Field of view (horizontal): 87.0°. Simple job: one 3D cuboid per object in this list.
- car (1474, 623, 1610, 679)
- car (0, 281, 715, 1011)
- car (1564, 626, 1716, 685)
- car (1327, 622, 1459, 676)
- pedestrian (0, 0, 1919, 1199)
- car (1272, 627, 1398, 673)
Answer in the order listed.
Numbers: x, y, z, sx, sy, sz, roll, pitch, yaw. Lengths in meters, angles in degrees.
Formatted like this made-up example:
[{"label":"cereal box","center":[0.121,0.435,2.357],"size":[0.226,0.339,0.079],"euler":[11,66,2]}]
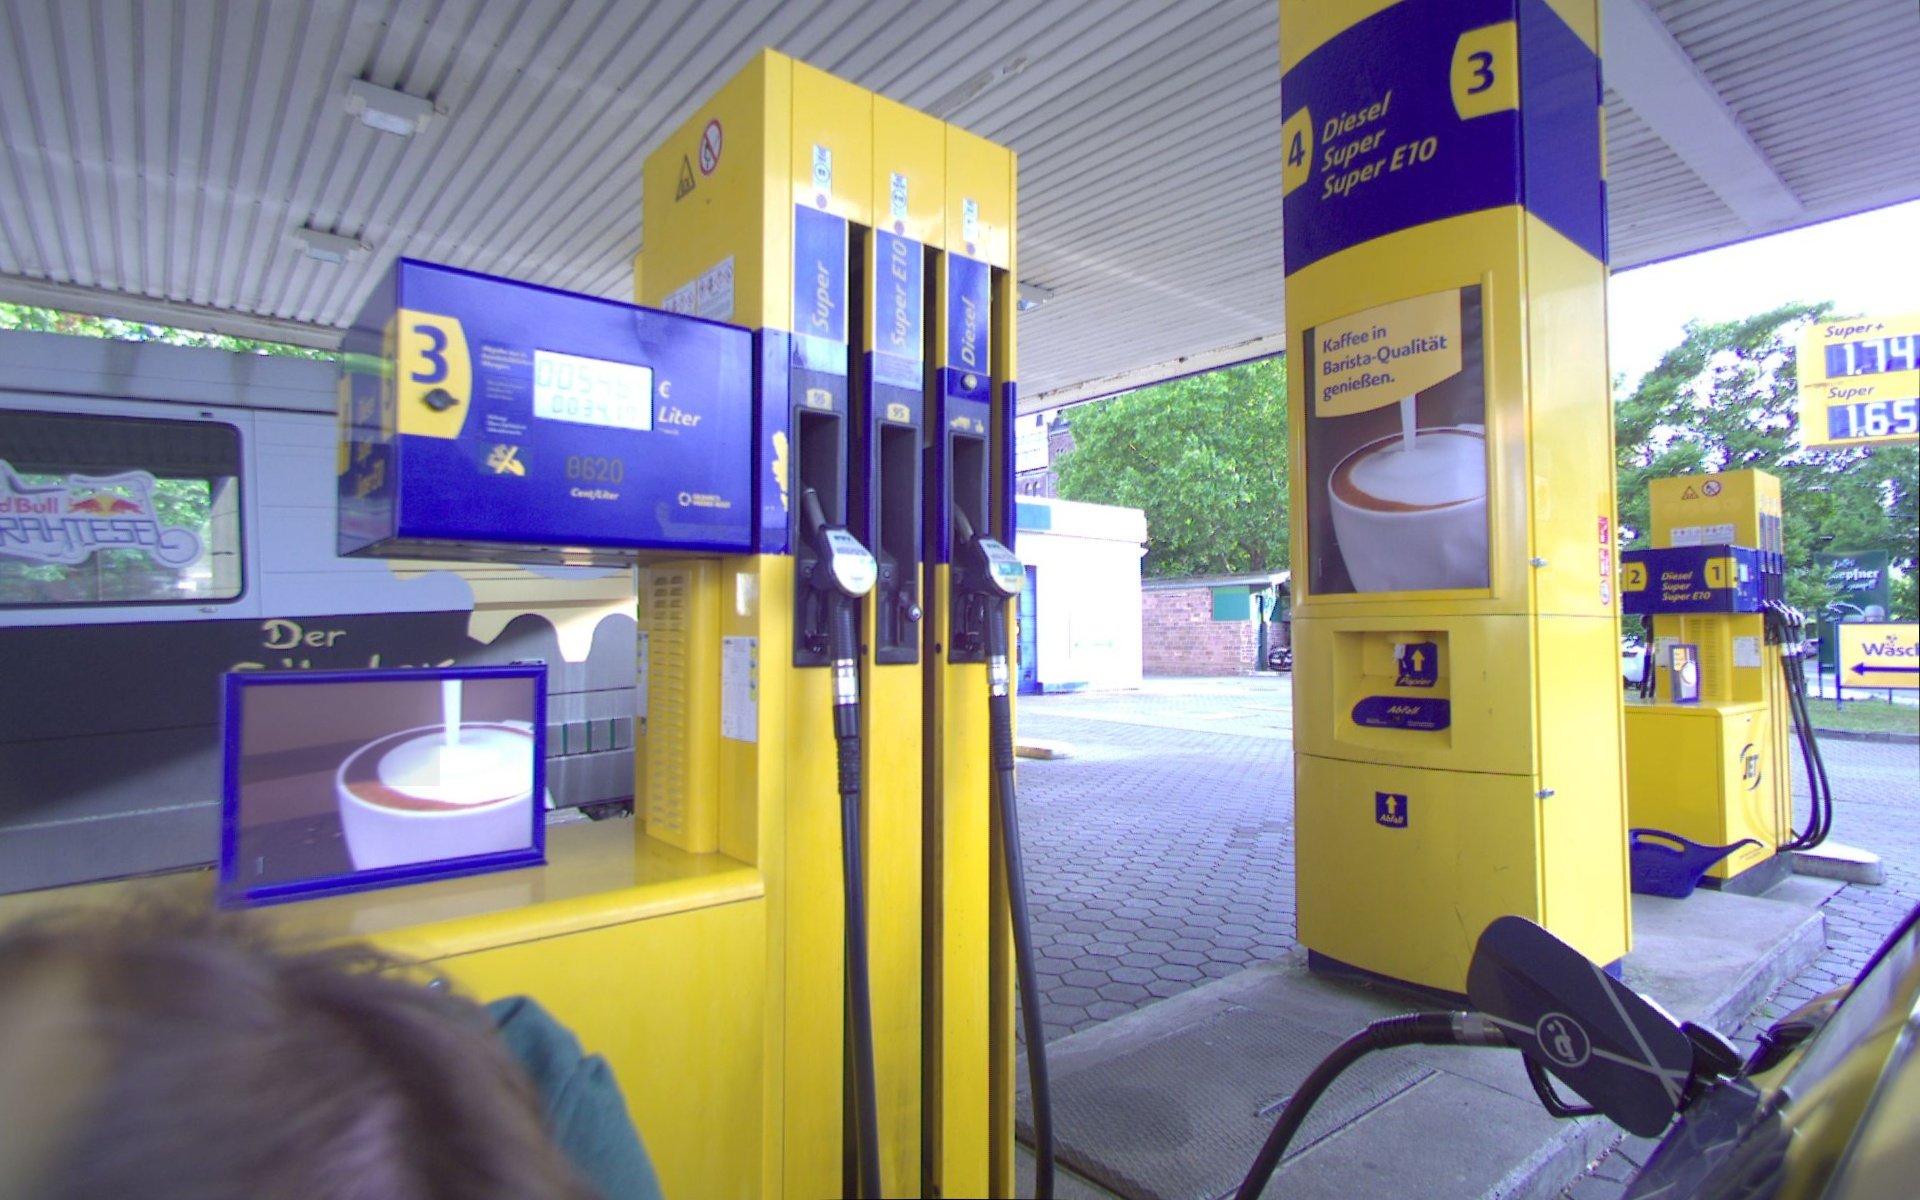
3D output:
[{"label":"car","center":[17.770,1.569,30.863],"size":[4.112,1.606,1.826],"euler":[2,-3,-31]},{"label":"car","center":[-4.098,0.180,4.868],"size":[5.248,2.760,2.201],"euler":[0,-1,-39]},{"label":"car","center":[18.254,1.479,27.147],"size":[4.112,1.478,1.826],"euler":[2,-3,-31]},{"label":"car","center":[13.781,1.558,32.182],"size":[4.112,1.606,1.826],"euler":[2,-3,-31]},{"label":"pedestrian","center":[-0.332,0.517,0.578],"size":[0.975,1.750,1.182],"euler":[-2,1,-36]},{"label":"car","center":[12.642,1.687,34.045],"size":[4.112,1.453,1.826],"euler":[2,-3,-31]}]
